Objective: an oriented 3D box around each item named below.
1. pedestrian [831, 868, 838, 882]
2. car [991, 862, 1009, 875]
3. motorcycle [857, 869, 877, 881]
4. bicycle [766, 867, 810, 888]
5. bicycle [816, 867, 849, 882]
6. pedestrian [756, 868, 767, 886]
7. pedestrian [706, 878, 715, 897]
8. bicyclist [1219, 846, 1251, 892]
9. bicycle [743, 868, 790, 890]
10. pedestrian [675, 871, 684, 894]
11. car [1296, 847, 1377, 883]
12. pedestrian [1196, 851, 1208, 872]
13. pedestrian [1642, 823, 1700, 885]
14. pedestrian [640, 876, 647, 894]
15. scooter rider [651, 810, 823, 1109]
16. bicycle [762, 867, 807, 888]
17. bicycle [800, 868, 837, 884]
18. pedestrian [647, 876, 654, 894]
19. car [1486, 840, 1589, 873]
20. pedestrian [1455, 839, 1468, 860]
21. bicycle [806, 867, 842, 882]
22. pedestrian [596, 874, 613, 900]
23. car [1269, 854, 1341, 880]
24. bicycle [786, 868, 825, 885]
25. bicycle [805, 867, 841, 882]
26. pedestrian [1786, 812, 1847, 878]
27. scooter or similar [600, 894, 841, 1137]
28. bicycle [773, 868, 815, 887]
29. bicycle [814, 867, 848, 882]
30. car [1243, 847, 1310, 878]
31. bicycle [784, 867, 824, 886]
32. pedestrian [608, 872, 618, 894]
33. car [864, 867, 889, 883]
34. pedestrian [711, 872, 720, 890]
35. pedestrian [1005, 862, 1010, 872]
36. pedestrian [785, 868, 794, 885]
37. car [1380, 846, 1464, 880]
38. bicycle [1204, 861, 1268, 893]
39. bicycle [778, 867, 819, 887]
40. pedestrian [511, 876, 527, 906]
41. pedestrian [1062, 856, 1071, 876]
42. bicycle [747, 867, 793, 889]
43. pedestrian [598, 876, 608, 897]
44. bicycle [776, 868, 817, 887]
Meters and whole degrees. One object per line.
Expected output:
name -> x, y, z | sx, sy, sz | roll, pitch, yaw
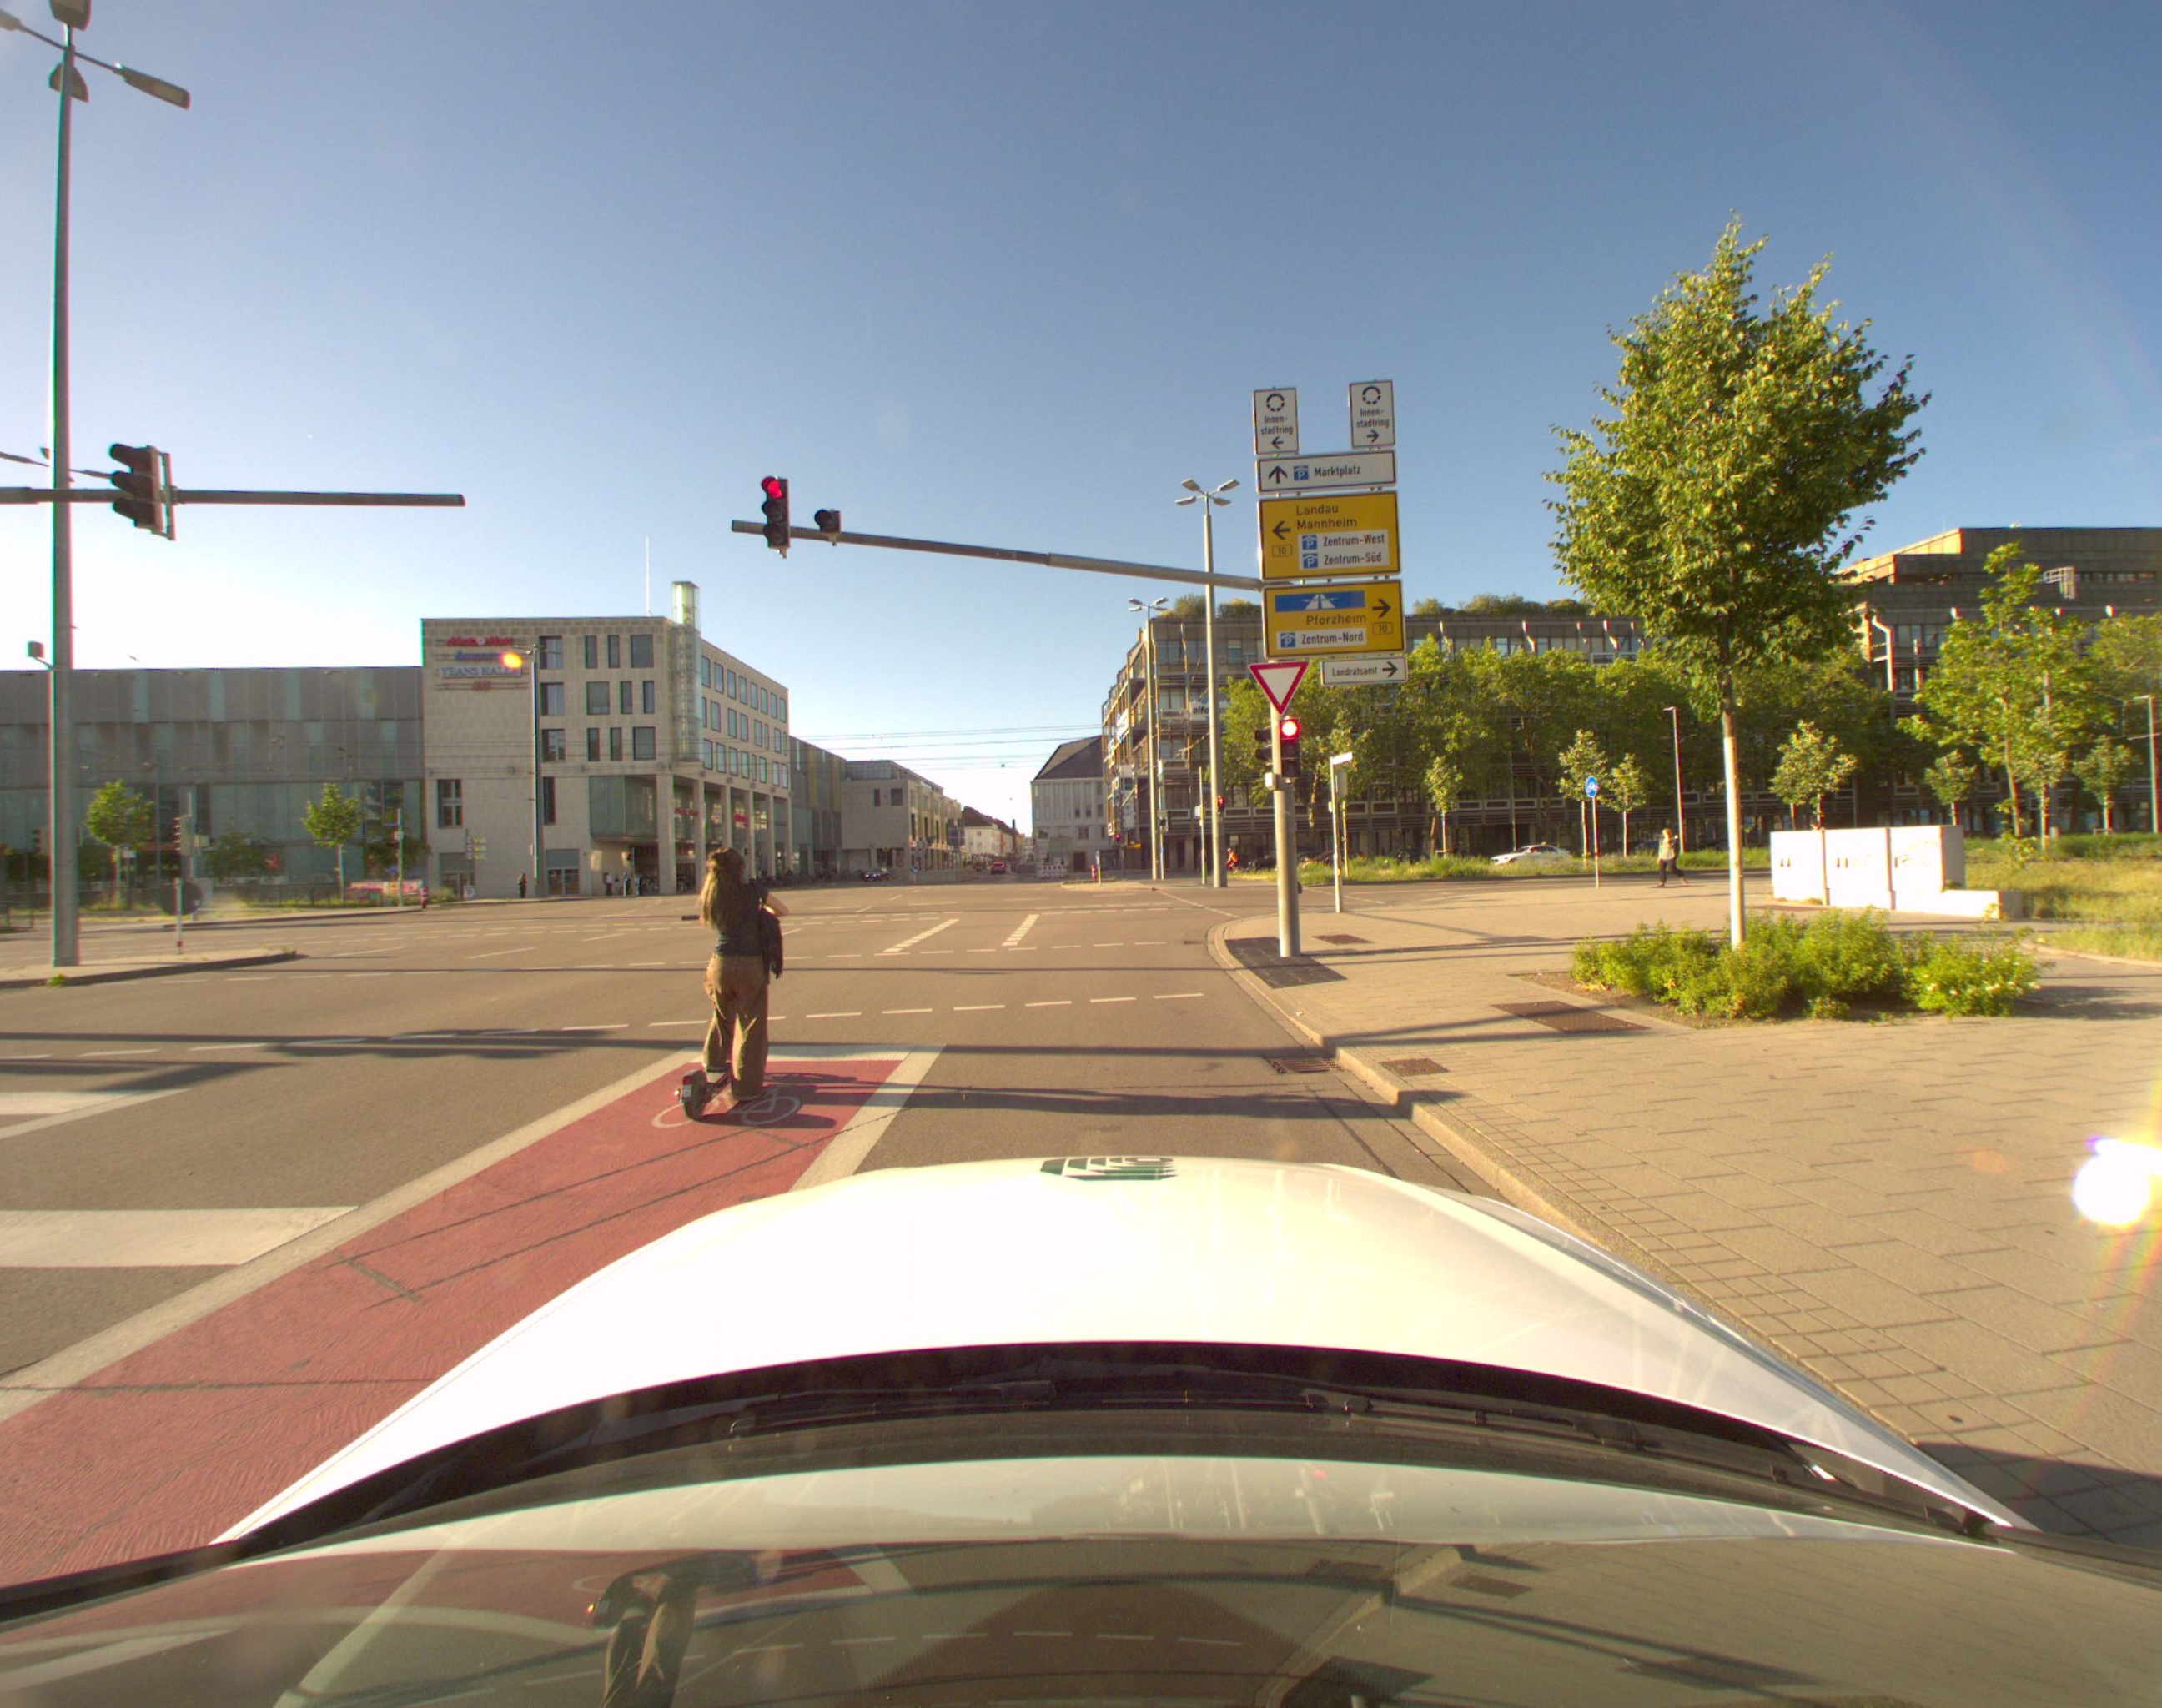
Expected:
pedestrian -> -30.125, 2.544, 99.510 | 0.697, 1.642, 0.692 | -2, 0, -13
car -> -10.794, 1.881, 108.854 | 2.195, 1.607, 4.320 | -2, 0, -4
motorcycle -> -25.972, 2.533, 98.859 | 2.269, 1.318, 0.719 | -2, 0, -4
bicycle -> -26.323, 2.112, 73.168 | 3.488, 1.696, 1.114 | -2, 0, -7
bicycle -> -28.293, 2.326, 92.771 | 3.491, 1.527, 0.984 | -2, 0, -10
pedestrian -> -30.122, 2.153, 76.685 | 0.784, 1.642, 0.692 | -2, 0, -10
pedestrian -> -32.284, 2.930, 71.010 | 0.480, 1.585, 0.513 | -2, 0, -3
bicyclist -> 8.883, 0.852, 47.063 | 1.566, 2.580, 0.929 | -2, 0, -7
bicycle -> -26.735, 2.093, 69.286 | 3.488, 1.696, 1.114 | -2, 0, -7
pedestrian -> -30.317, 2.143, 61.511 | 0.544, 1.642, 0.545 | -2, 0, -31
car -> 14.450, 0.616, 46.201 | 3.975, 2.014, 1.999 | 0, -1, -1
pedestrian -> 9.775, 0.574, 65.876 | 0.728, 1.658, 0.649 | -2, 0, -5
pedestrian -> 16.109, -0.005, 22.257 | 0.801, 1.630, 0.939 | -2, 0, -12
pedestrian -> -33.593, 2.374, 62.536 | 0.389, 1.426, 0.498 | -1, -1, -30
scooter rider -> -2.195, 0.633, 5.294 | 0.726, 1.775, 0.811 | -1, 0, 1
bicycle -> -26.147, 2.066, 71.947 | 3.488, 1.696, 1.114 | -2, 0, -7
bicycle -> -27.552, 2.288, 85.574 | 3.491, 1.527, 0.984 | -2, 0, -10
pedestrian -> -33.170, 2.397, 62.781 | 0.389, 1.412, 0.433 | -2, 0, -31
car -> 28.890, 0.141, 51.646 | 5.424, 2.014, 2.097 | 0, -1, -1
pedestrian -> 30.405, -0.349, 65.054 | 0.662, 1.658, 0.739 | -2, 0, -5
bicycle -> -27.926, 2.209, 88.571 | 3.491, 1.527, 0.984 | -2, 0, -10
pedestrian -> -34.179, 2.362, 58.451 | 0.755, 1.798, 0.736 | -2, 0, -3
car -> 13.849, 0.779, 50.467 | 3.976, 1.508, 1.867 | -1, 0, -2
bicycle -> -27.413, 2.223, 81.152 | 3.491, 1.527, 0.984 | -2, 0, -10
bicycle -> -27.657, 2.209, 87.442 | 3.491, 1.527, 0.984 | -2, 0, -10
pedestrian -> 19.810, -0.240, 21.951 | 0.694, 1.728, 0.939 | -2, 0, -12
scooter or similar -> -2.174, 0.906, 5.183 | 0.725, 1.202, 1.665 | -1, 0, 2
bicycle -> -26.683, 2.177, 75.754 | 3.491, 1.696, 0.984 | -2, 0, -10
bicycle -> -28.176, 2.289, 91.741 | 3.491, 1.527, 0.984 | -2, 0, -10
car -> 12.837, 0.557, 53.616 | 3.975, 2.014, 1.999 | 0, -1, -1
bicycle -> -27.252, 2.231, 80.155 | 3.491, 1.696, 0.984 | -2, 0, -10
pedestrian -> -35.397, 2.190, 61.561 | 0.420, 1.565, 0.457 | -2, 0, 2
car -> -20.922, 2.120, 83.471 | 1.992, 1.486, 3.990 | -2, 0, -7
pedestrian -> -32.114, 2.381, 71.588 | 0.480, 1.510, 0.513 | -2, 0, -3
pedestrian -> -9.733, 1.737, 108.344 | 0.608, 1.411, 0.569 | -2, 0, -5
pedestrian -> -29.980, 2.311, 83.831 | 0.652, 1.642, 0.693 | -2, 0, -7
car -> 21.403, 0.558, 51.239 | 4.435, 2.014, 1.998 | 0, -1, -4
bicycle -> 8.924, 1.312, 47.059 | 3.488, 1.659, 0.929 | -2, 0, -7
bicycle -> -27.047, 2.207, 78.059 | 3.491, 1.696, 0.984 | -2, 0, -10
pedestrian -> -32.564, 2.144, 47.222 | 0.525, 1.694, 0.546 | -2, 0, -8
pedestrian -> -1.246, 1.011, 69.413 | 0.661, 1.658, 0.755 | -2, 0, -1
bicycle -> -26.912, 2.082, 70.467 | 3.488, 1.696, 1.114 | -2, 0, -7
pedestrian -> -36.105, 2.426, 61.485 | 0.420, 1.565, 0.457 | -2, 0, 2
bicycle -> -26.859, 2.196, 76.850 | 3.491, 1.696, 0.984 | -2, 0, -10
